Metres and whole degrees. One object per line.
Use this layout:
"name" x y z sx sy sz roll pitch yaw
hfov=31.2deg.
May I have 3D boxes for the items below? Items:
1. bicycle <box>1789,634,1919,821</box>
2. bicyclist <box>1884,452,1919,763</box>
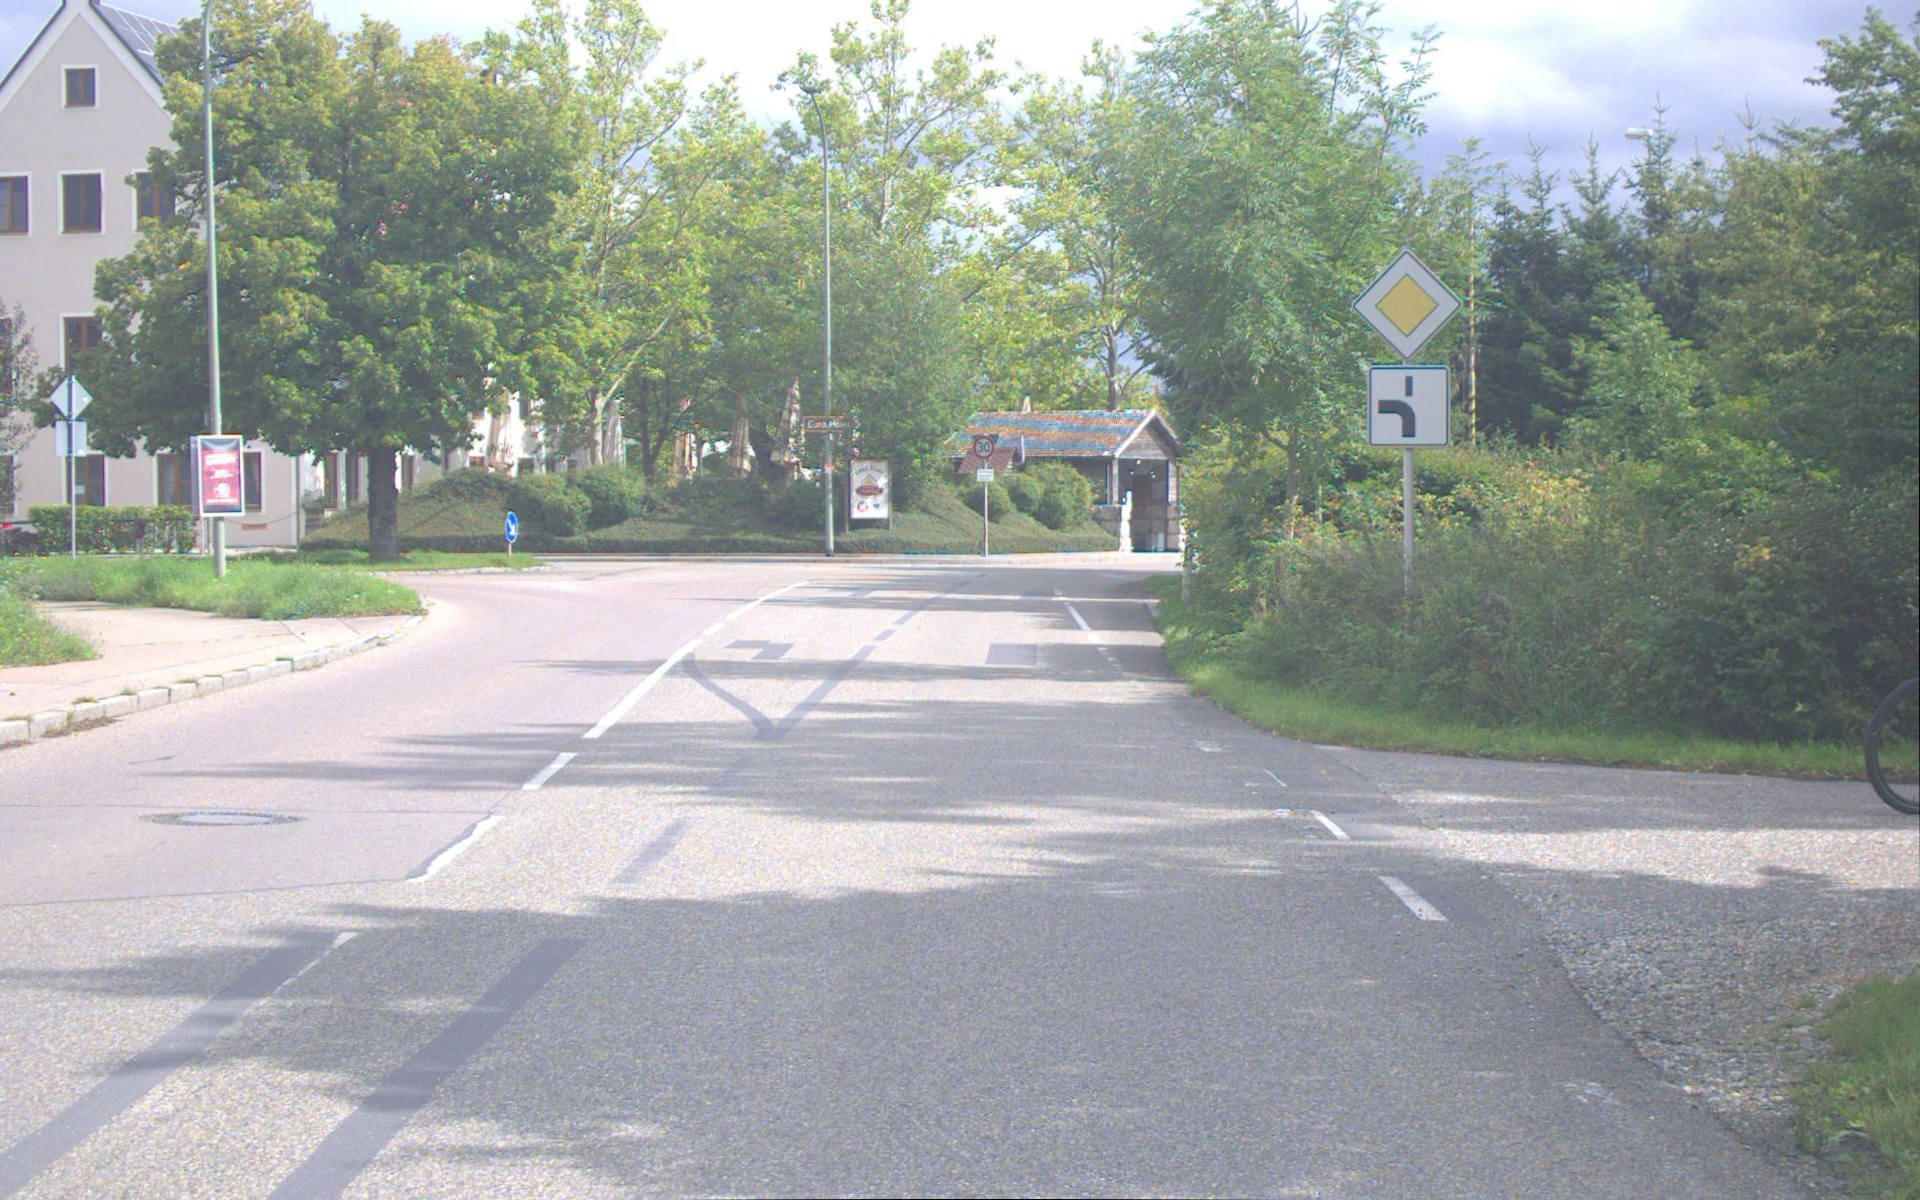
"bicycle" 5.429 0.626 17.443 2.115 0.861 1.054 0 2 -14
"bicyclist" 5.432 0.052 17.421 1.017 1.579 1.054 1 2 -14
